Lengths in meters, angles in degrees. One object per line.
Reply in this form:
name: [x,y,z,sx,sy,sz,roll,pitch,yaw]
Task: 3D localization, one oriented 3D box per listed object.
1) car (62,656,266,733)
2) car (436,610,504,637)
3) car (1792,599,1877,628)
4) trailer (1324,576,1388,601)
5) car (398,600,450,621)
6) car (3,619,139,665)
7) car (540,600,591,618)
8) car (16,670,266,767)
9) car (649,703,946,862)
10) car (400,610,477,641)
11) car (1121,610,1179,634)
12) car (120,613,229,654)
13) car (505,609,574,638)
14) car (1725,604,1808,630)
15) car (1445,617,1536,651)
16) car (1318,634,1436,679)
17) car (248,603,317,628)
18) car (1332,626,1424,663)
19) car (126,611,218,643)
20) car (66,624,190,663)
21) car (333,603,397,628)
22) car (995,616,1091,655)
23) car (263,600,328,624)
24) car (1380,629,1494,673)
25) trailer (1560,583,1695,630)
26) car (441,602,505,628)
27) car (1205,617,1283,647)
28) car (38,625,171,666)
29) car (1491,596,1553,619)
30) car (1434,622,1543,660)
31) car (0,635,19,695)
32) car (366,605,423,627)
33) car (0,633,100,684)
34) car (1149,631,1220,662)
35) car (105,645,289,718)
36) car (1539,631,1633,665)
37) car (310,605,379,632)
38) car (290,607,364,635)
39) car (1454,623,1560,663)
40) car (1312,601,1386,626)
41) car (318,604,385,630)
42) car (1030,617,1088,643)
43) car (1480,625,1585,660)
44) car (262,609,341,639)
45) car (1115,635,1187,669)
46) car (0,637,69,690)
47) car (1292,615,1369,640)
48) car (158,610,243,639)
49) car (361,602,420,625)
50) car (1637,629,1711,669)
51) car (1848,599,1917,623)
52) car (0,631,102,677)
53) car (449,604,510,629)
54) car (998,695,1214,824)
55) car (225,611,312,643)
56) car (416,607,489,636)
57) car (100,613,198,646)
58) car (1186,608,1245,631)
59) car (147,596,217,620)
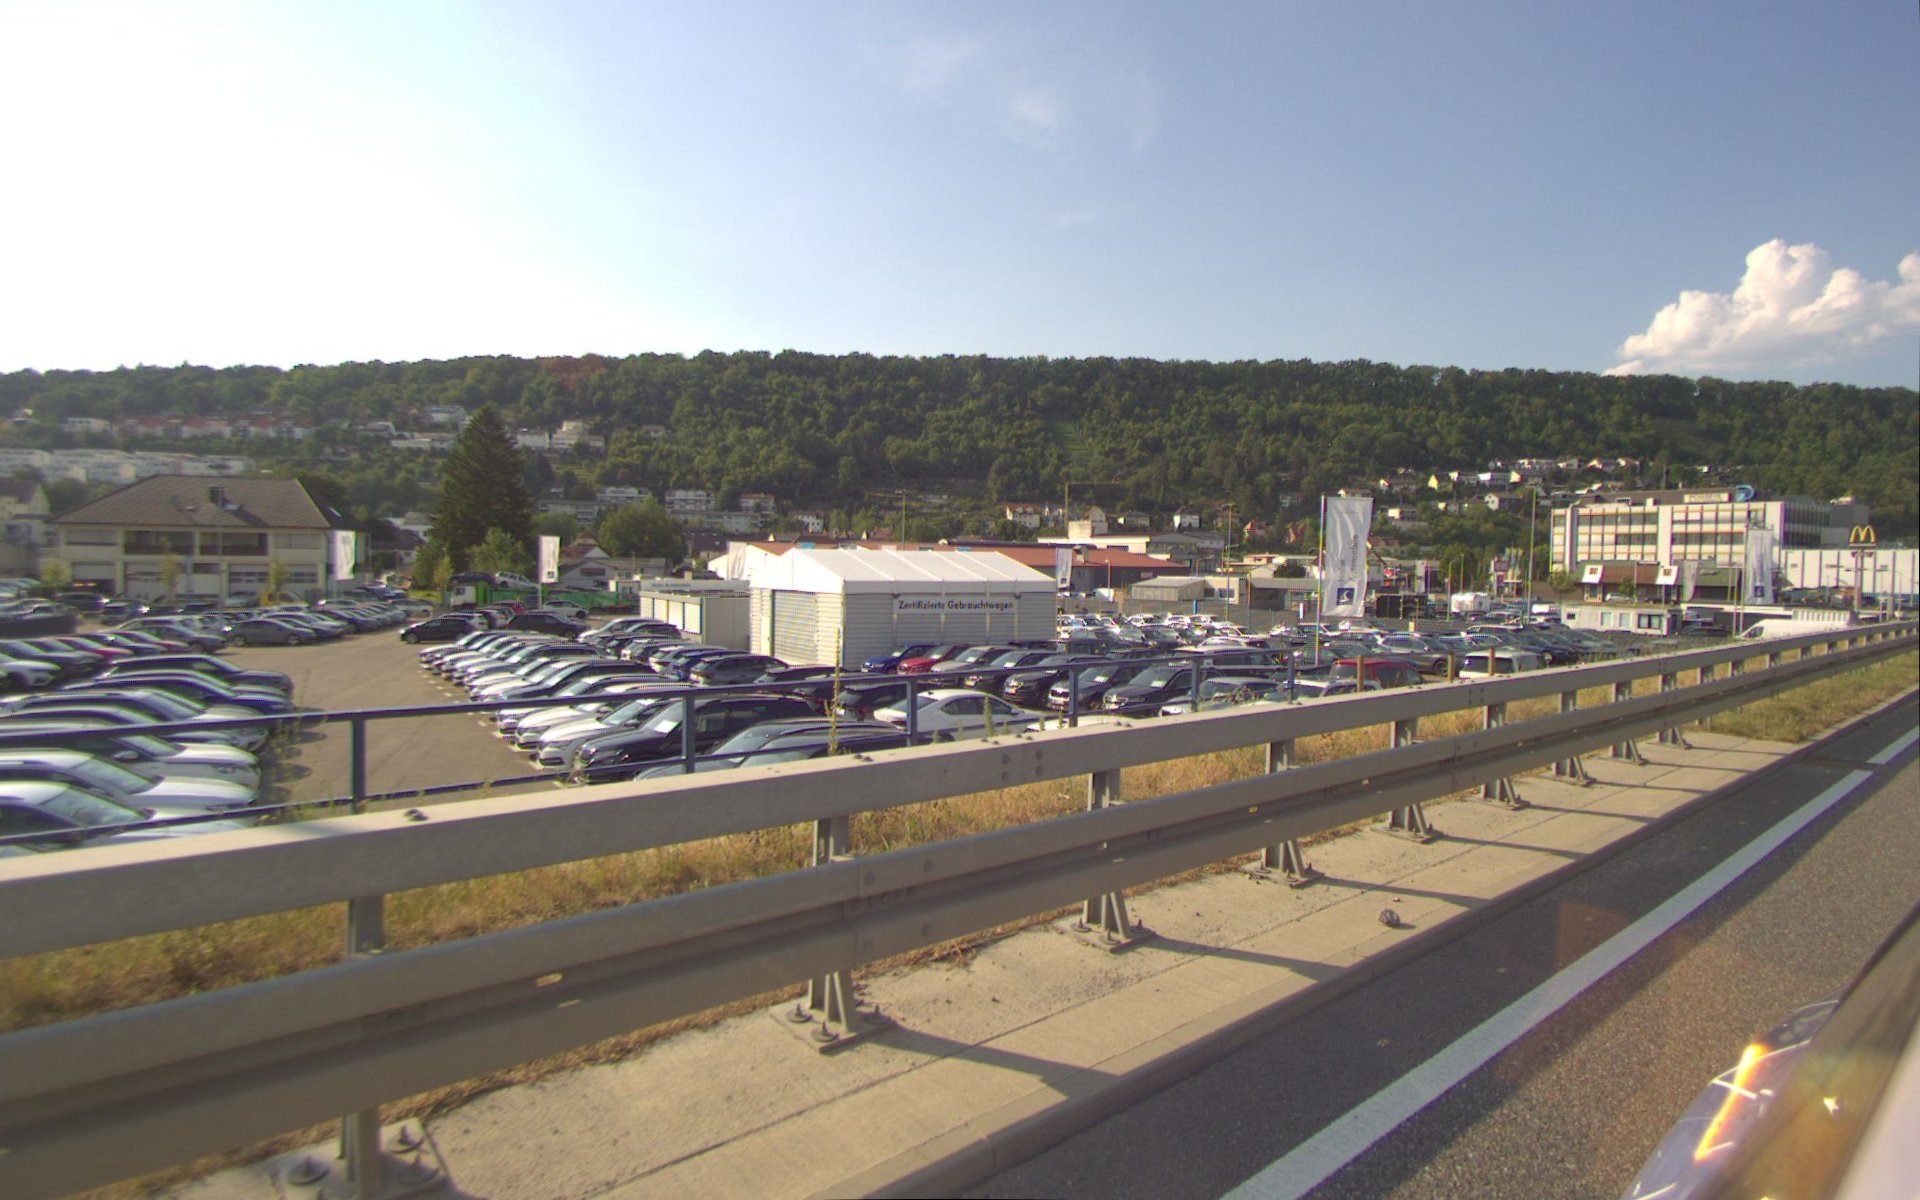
car: [-19.932,2.326,25.553,3.926,1.482,1.711,-2,1,-36]
car: [-31.391,1.483,64.895,3.701,1.597,1.756,-1,1,-18]
car: [57.542,0.846,66.654,1.867,1.771,3.996,-2,1,-38]
trailer: [33.376,-0.989,85.266,6.166,2.047,2.000,-2,1,-36]
car: [-44.816,0.854,84.669,3.702,1.597,1.756,-1,1,-24]
car: [-35.447,1.649,40.461,3.702,1.597,1.756,-1,1,-24]
car: [-33.411,0.745,85.822,3.916,1.367,1.593,-1,1,-18]
car: [-17.012,2.401,21.269,3.926,1.482,1.711,-2,1,-36]
car: [-2.252,2.487,14.636,3.931,1.482,1.709,-2,1,-41]
car: [-29.937,1.448,58.213,3.701,1.597,1.756,-1,1,-18]
car: [13.687,1.559,73.155,1.764,1.562,4.351,-1,1,-29]
car: [-38.314,1.605,49.484,3.920,1.772,2.002,-2,1,-29]
car: [-25.196,1.384,60.767,3.701,1.597,1.756,-1,1,-18]
car: [58.626,1.196,73.615,2.093,1.771,4.332,-2,1,-38]
car: [31.018,1.947,59.289,1.766,1.735,4.435,-1,1,-33]
car: [17.721,2.359,43.187,1.765,1.628,4.435,0,0,-33]
car: [-47.406,1.085,70.859,3.701,1.597,1.756,-1,1,-20]
car: [22.767,2.384,55.241,1.766,1.735,4.435,-1,1,-33]
car: [-44.032,1.508,56.633,3.701,1.597,1.756,-1,1,-20]
car: [-36.766,1.882,44.836,3.918,1.482,1.714,-2,1,-25]
car: [-42.173,1.081,71.849,3.702,1.597,1.756,-1,1,-24]
car: [3.687,1.544,44.773,3.925,1.482,1.960,-2,1,-35]
car: [-49.171,0.874,74.999,3.701,1.597,1.756,-1,1,-20]
car: [21.705,2.276,46.241,1.806,1.687,4.435,-2,1,-33]
trailer: [50.505,0.429,76.806,3.296,3.364,7.903,-2,1,-36]
car: [-33.374,1.017,69.469,3.701,1.597,1.756,-1,1,-18]
car: [16.899,1.855,60.416,1.766,1.562,4.435,-2,1,-33]
car: [-36.031,1.886,42.743,3.918,1.482,1.714,-2,1,-25]
car: [45.676,0.579,82.354,1.772,1.677,4.000,-2,3,-37]
car: [25.817,1.955,49.544,1.766,1.562,4.435,-2,1,-33]
car: [-31.944,2.109,31.329,3.702,1.816,1.756,-1,1,-24]
car: [-44.130,1.215,79.016,3.702,1.597,1.756,-1,1,-24]
car: [-33.057,2.060,35.769,3.702,1.597,1.756,-1,1,-24]
car: [12.748,2.594,57.564,1.745,1.474,4.005,-1,1,-28]
car: [-20.855,2.174,27.836,3.926,1.623,1.711,-2,1,-36]
car: [33.802,2.569,54.737,1.754,1.562,3.984,-2,1,-37]
car: [-40.921,1.211,67.392,3.702,1.597,1.756,-1,1,-24]
car: [-39.921,1.283,63.904,3.702,1.597,1.756,-1,1,-24]
car: [27.603,2.122,51.194,1.766,1.735,4.435,-1,1,-33]
car: [26.055,0.883,67.878,1.766,1.562,4.435,-2,1,-33]
car: [-41.601,1.166,69.284,3.702,1.597,1.756,-1,1,-24]
car: [6.784,2.049,69.715,1.764,1.562,4.351,-1,1,-29]
car: [29.566,2.166,52.364,1.766,1.562,4.435,-2,1,-33]
car: [-39.617,1.415,60.998,3.702,1.597,1.756,-1,1,-24]
car: [10.551,2.840,56.059,1.746,1.584,4.004,-1,1,-29]
car: [-32.278,2.131,33.549,3.702,1.597,1.756,-1,1,-24]
car: [23.512,1.746,64.425,1.766,1.386,4.435,-2,1,-33]
car: [-45.762,1.451,61.056,3.701,1.597,1.756,-1,1,-20]
car: [-43.212,0.994,76.902,3.702,1.597,1.756,-1,1,-24]
car: [34.105,2.293,48.300,4.354,1.562,1.798,-2,1,-40]
car: [76.016,0.892,83.456,1.802,1.838,3.996,-2,1,-39]
car: [-34.804,2.024,37.771,3.918,1.482,1.714,-2,1,-25]
car: [-34.074,1.140,71.900,3.701,1.597,1.756,-1,1,-18]
car: [2.702,2.794,18.399,3.762,1.700,1.618,-2,1,-34]
car: [-38.406,1.488,56.331,3.702,1.597,1.756,-1,1,-24]
car: [-30.700,1.290,61.362,3.701,1.597,1.756,-1,1,-18]
car: [-43.442,1.544,54.309,3.701,1.597,1.756,-1,1,-20]
car: [19.514,1.448,77.436,1.766,1.562,4.347,-2,1,-33]
car: [-57.280,0.561,74.584,3.701,1.597,1.756,-1,1,-20]
